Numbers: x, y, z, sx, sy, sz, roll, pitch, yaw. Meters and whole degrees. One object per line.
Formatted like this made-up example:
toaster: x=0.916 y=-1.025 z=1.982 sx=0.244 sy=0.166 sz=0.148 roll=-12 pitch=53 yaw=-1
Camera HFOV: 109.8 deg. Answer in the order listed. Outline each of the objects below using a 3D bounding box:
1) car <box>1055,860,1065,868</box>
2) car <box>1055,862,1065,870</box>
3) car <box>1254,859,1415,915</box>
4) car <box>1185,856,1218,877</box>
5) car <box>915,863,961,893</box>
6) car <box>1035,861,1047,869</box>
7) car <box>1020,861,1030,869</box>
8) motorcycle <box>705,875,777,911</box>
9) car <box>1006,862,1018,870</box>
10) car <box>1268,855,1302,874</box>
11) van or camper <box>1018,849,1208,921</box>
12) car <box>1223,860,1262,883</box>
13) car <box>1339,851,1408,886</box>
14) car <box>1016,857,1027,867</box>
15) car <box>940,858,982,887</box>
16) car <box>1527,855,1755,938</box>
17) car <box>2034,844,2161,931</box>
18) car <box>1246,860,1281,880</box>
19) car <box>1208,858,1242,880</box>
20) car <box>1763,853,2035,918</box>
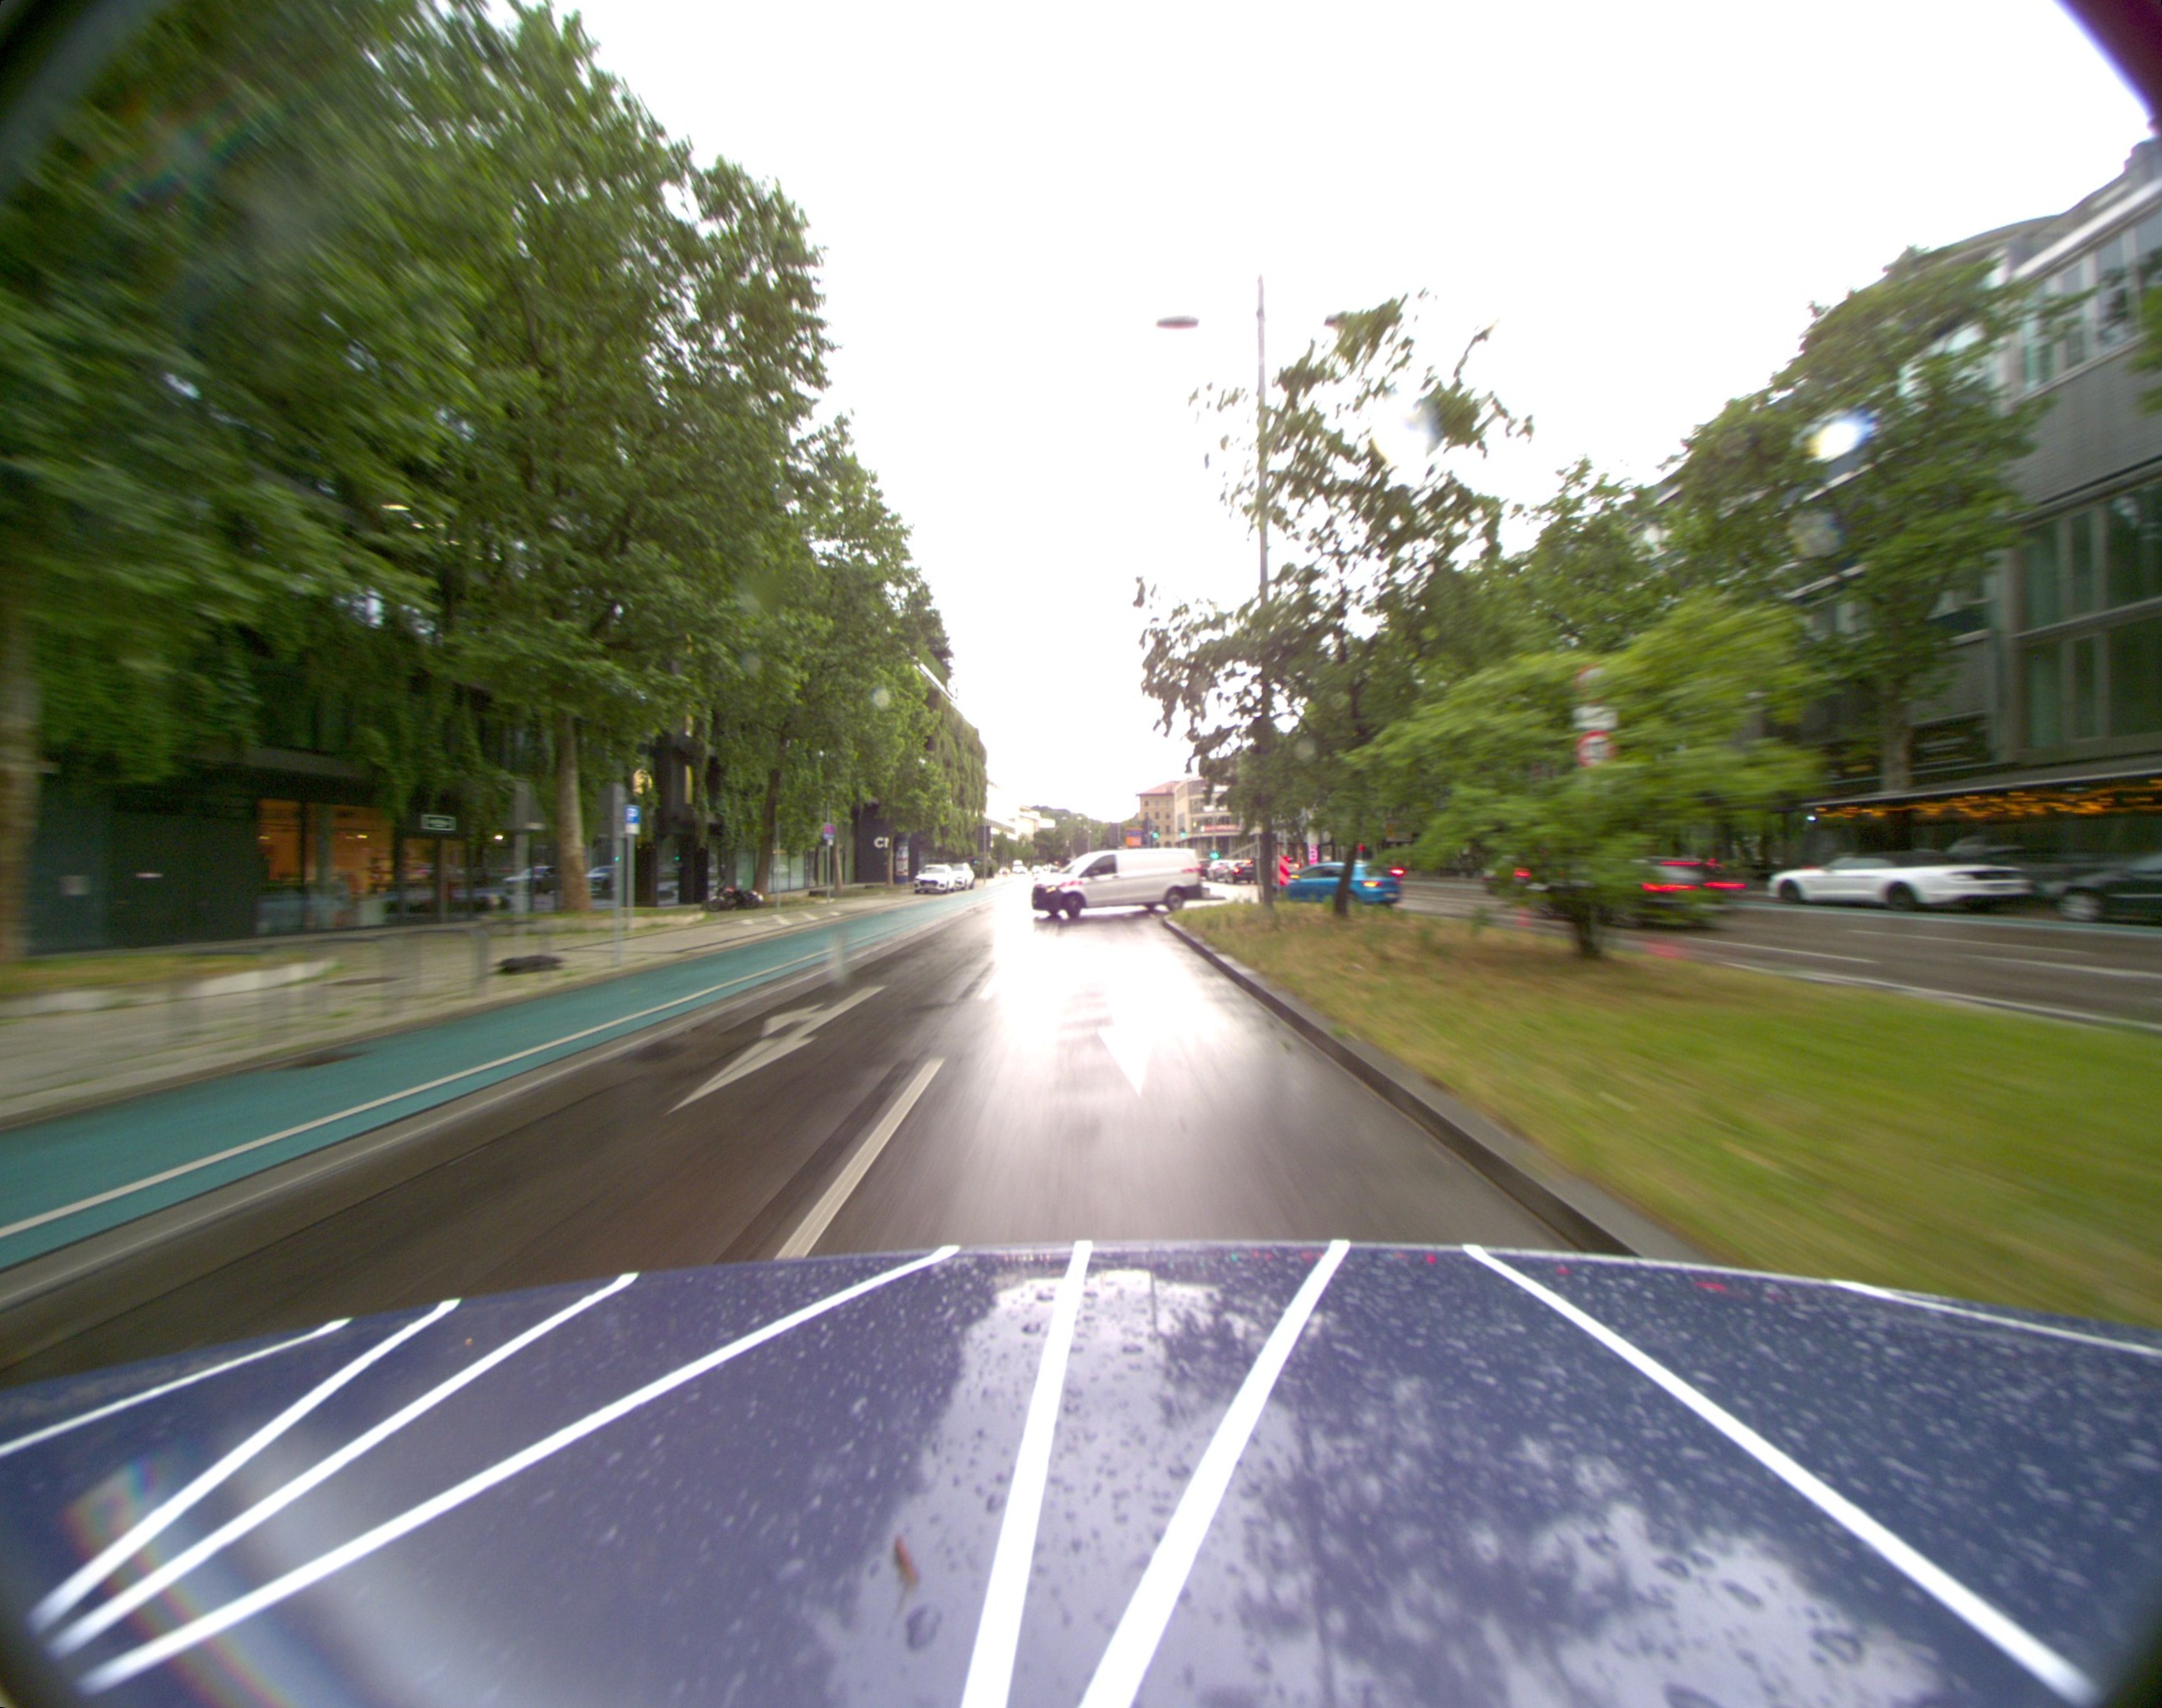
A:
car: x=-4.010 y=1.930 z=148.653 sx=1.739 sy=1.543 sz=4.671 roll=-1 pitch=0 yaw=0
car: x=-4.188 y=2.339 z=153.535 sx=1.739 sy=1.543 sz=4.671 roll=-1 pitch=0 yaw=2
car: x=7.434 y=0.971 z=22.744 sx=1.852 sy=1.473 sz=4.387 roll=-1 pitch=-2 yaw=-30
car: x=10.477 y=1.100 z=66.308 sx=1.840 sy=1.756 sz=5.108 roll=-1 pitch=-1 yaw=-2
car: x=-8.373 y=1.366 z=44.882 sx=1.848 sy=1.622 sz=4.787 roll=-1 pitch=-1 yaw=0
car: x=-7.999 y=2.198 z=152.936 sx=1.979 sy=1.543 sz=4.671 roll=-1 pitch=0 yaw=0
car: x=-11.252 y=2.259 z=152.676 sx=1.739 sy=1.543 sz=4.671 roll=-1 pitch=0 yaw=0
motorcycle: x=-13.266 y=1.521 z=29.687 sx=2.313 sy=1.263 sz=1.052 roll=-2 pitch=0 yaw=-1
car: x=-13.683 y=2.284 z=150.752 sx=1.739 sy=1.543 sz=4.671 roll=-1 pitch=0 yaw=0
car: x=17.243 y=0.883 z=64.404 sx=1.757 sy=1.555 sz=4.000 roll=-1 pitch=0 yaw=-1
van or camper: x=0.948 y=0.870 z=22.678 sx=5.256 sy=1.902 sz=1.997 roll=-1 pitch=-1 yaw=-19
car: x=10.715 y=1.151 z=50.765 sx=1.754 sy=1.467 sz=4.096 roll=-1 pitch=0 yaw=0
car: x=14.278 y=0.661 z=37.363 sx=1.754 sy=1.467 sz=4.095 roll=-4 pitch=1 yaw=1
car: x=-12.628 y=1.643 z=160.800 sx=1.998 sy=2.001 sz=4.000 roll=-1 pitch=-1 yaw=0
car: x=-8.037 y=1.237 z=51.173 sx=1.848 sy=1.827 sz=5.095 roll=0 pitch=-1 yaw=2
car: x=11.772 y=0.796 z=16.384 sx=1.753 sy=1.467 sz=4.094 roll=-2 pitch=1 yaw=-2
car: x=19.620 y=0.561 z=12.894 sx=1.841 sy=1.499 sz=4.000 roll=-1 pitch=-1 yaw=0
car: x=13.899 y=1.196 z=58.165 sx=1.723 sy=1.482 sz=4.570 roll=-1 pitch=0 yaw=2
car: x=10.887 y=1.098 z=57.787 sx=1.739 sy=1.564 sz=4.832 roll=-1 pitch=-1 yaw=0
car: x=19.540 y=0.709 z=18.533 sx=1.563 sy=1.345 sz=4.683 roll=-2 pitch=-1 yaw=0
